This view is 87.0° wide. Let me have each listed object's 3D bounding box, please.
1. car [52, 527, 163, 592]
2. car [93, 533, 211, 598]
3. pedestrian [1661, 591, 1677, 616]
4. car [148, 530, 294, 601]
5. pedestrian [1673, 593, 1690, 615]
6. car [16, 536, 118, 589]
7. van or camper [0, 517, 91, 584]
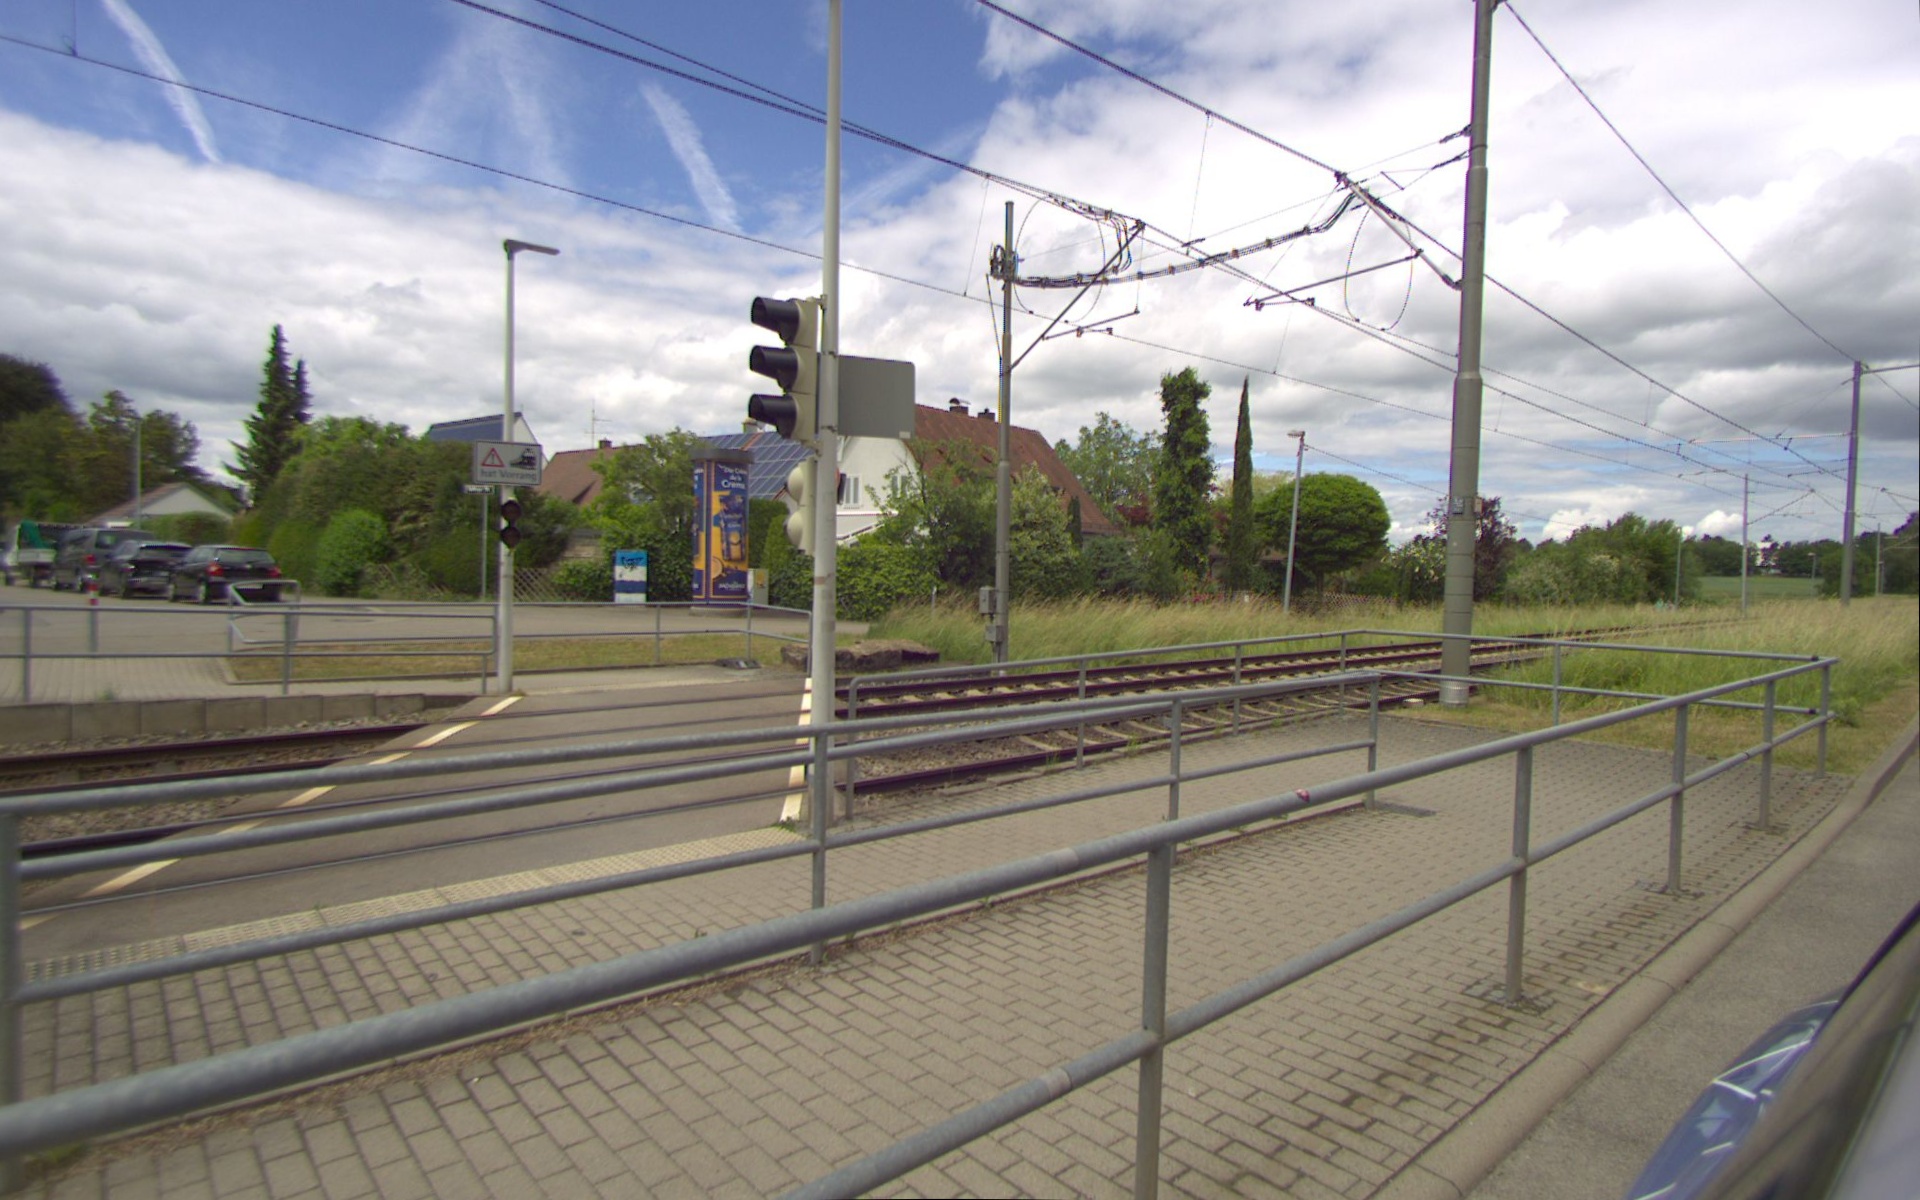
[{"bbox_3d":[-26.062,-1.251,30.913,3.621,1.887,1.802,3,2,36],"label":"car"},{"bbox_3d":[-22.123,-0.965,27.651,3.955,1.643,1.799,3,2,40],"label":"car"},{"bbox_3d":[46.330,0.227,66.154,0.572,1.643,0.619,0,0,-6],"label":"pedestrian"},{"bbox_3d":[-18.269,-0.874,24.983,3.707,1.643,1.803,3,2,35],"label":"car"},{"bbox_3d":[46.727,0.264,65.514,0.653,1.448,0.600,0,0,-8],"label":"pedestrian"},{"bbox_3d":[-29.241,-1.249,33.107,3.621,1.643,1.801,3,2,37],"label":"car"},{"bbox_3d":[-33.015,-1.770,36.346,3.914,2.266,2.028,3,2,38],"label":"van or camper"}]
